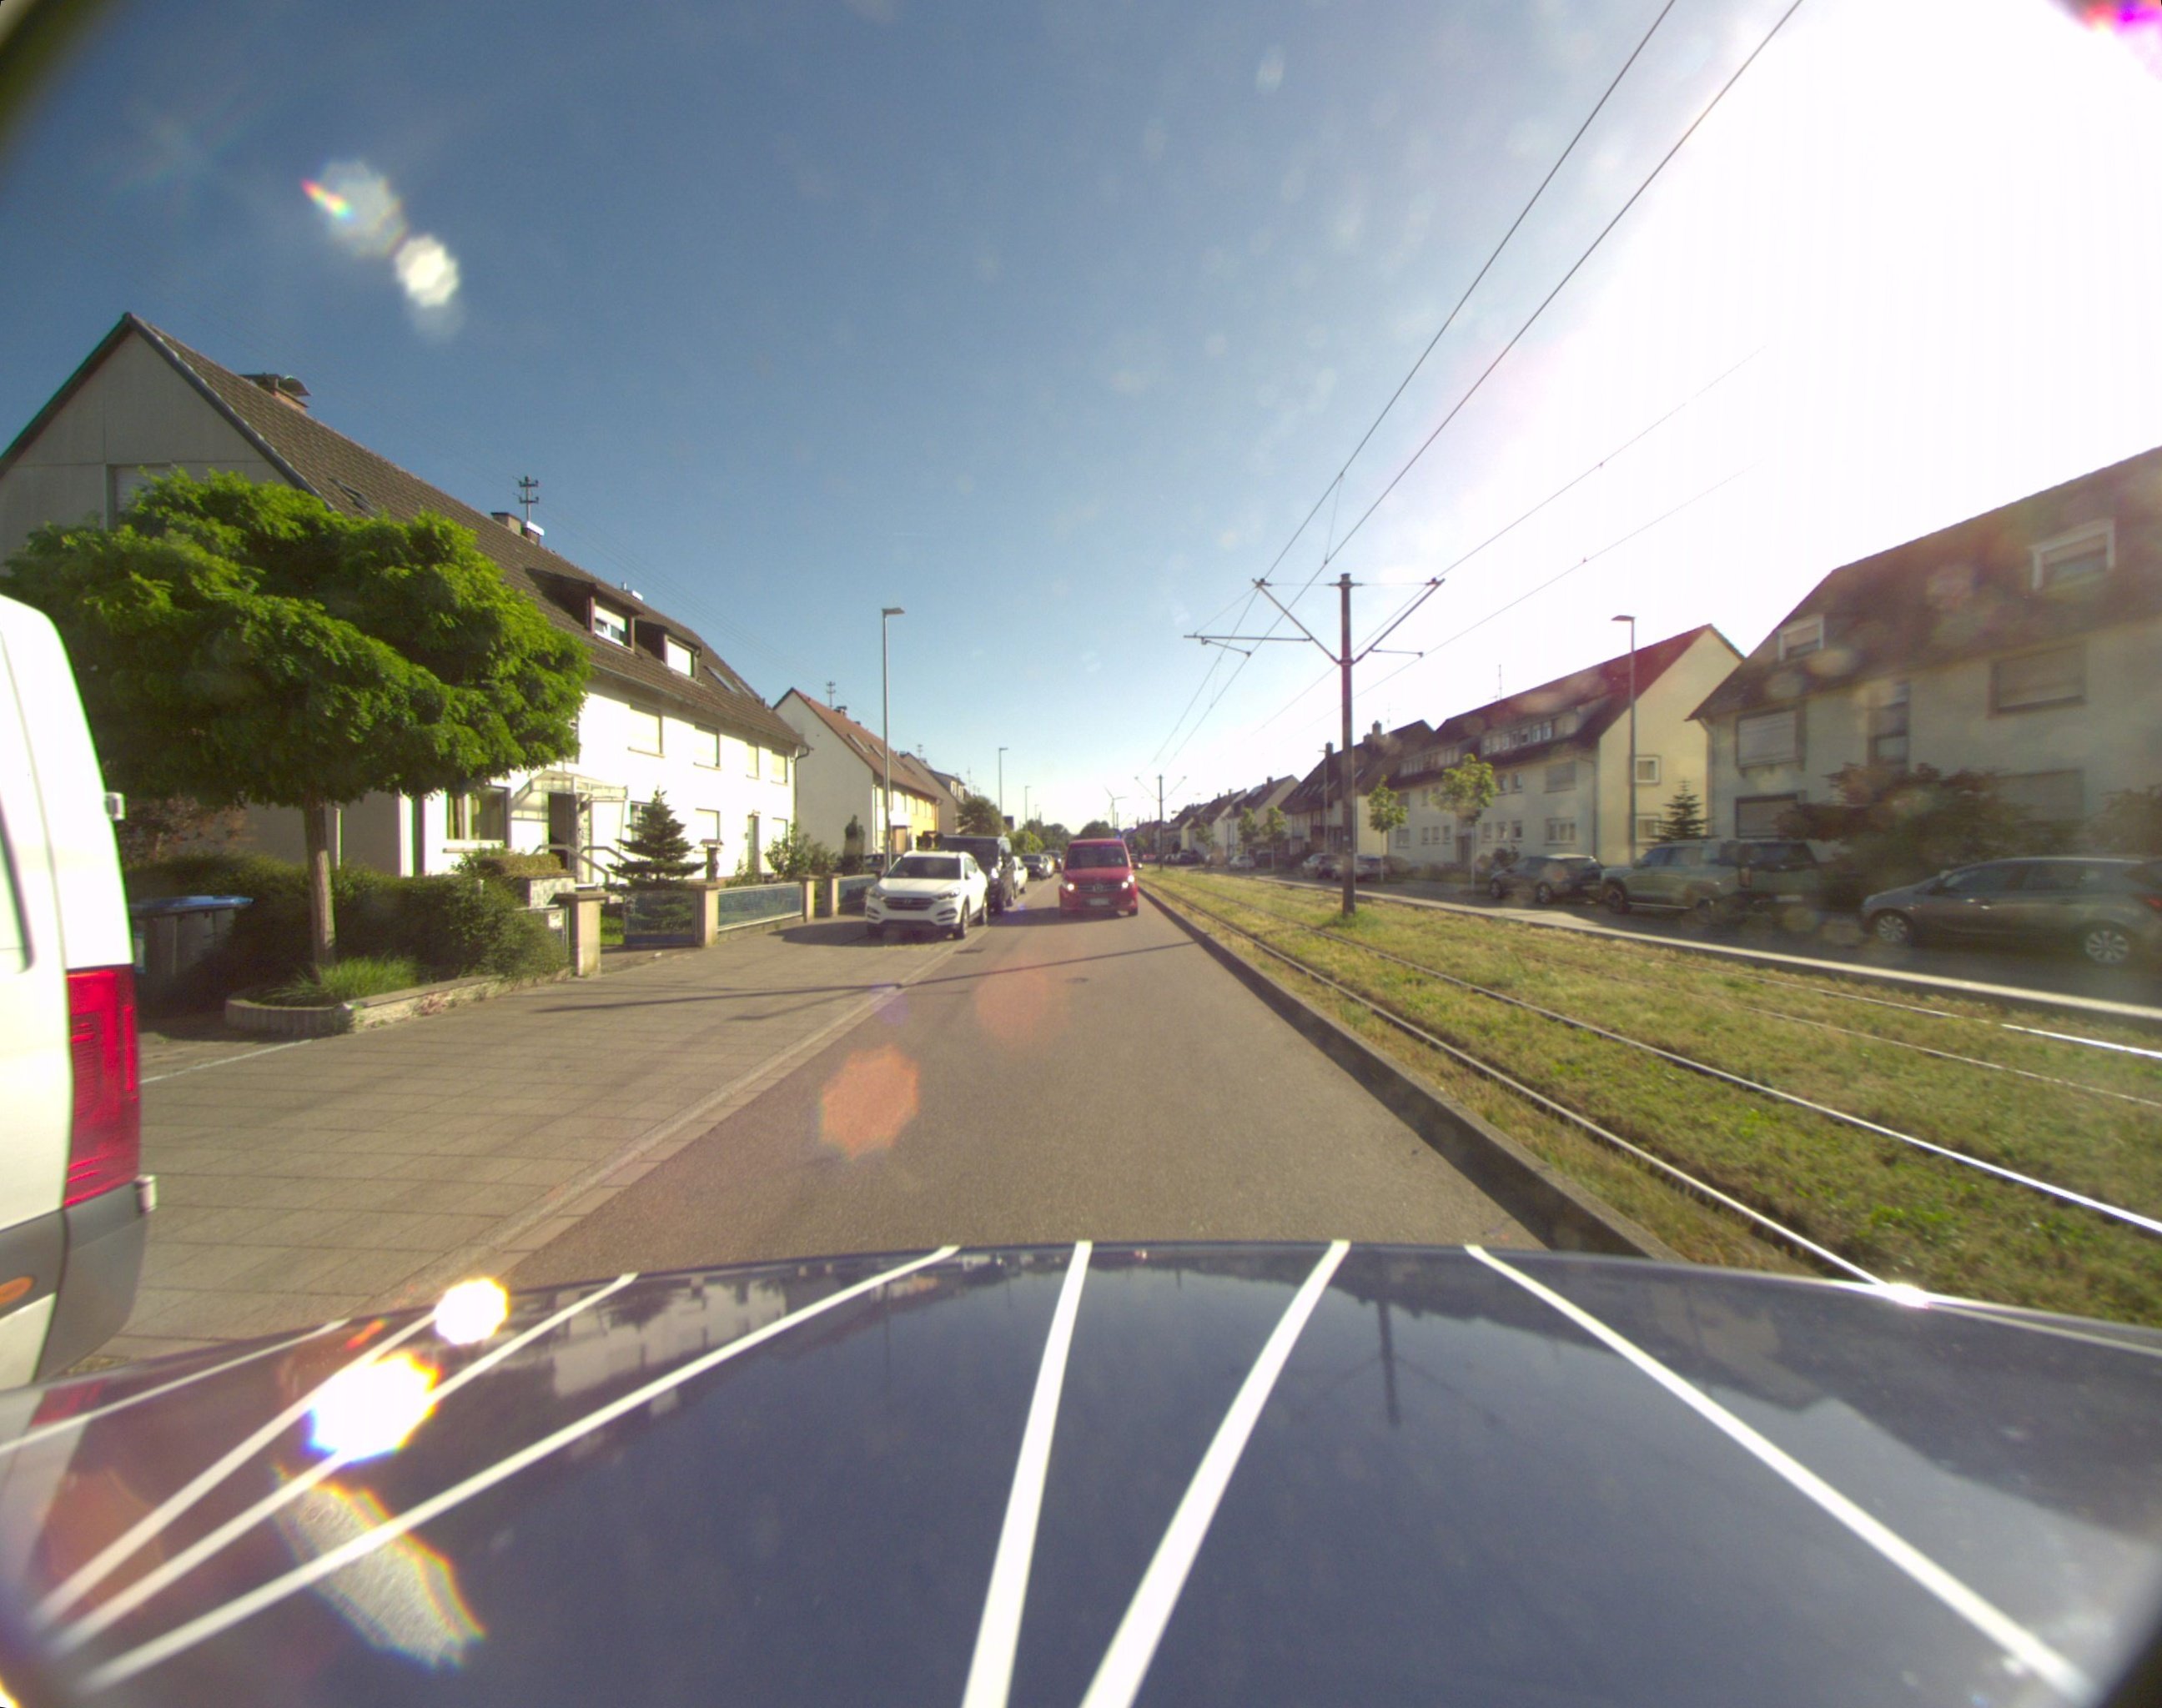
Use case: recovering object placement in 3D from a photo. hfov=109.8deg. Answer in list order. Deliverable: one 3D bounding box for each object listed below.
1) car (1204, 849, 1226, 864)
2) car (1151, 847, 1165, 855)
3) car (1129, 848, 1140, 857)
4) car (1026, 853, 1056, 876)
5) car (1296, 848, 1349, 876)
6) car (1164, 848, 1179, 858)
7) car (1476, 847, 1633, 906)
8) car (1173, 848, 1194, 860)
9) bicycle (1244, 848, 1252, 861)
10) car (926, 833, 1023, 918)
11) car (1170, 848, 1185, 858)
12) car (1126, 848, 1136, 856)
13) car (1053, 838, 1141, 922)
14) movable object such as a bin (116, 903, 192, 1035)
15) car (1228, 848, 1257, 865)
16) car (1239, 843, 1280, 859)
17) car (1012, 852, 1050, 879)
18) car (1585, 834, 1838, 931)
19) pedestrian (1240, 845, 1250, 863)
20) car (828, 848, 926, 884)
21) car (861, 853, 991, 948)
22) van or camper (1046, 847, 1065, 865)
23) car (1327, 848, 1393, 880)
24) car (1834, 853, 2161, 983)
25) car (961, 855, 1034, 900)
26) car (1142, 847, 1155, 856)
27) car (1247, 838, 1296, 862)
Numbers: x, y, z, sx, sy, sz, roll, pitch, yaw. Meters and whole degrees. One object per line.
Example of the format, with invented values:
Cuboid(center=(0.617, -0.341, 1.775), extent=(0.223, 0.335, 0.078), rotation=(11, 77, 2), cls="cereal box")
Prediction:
Cuboid(center=(14.360, 0.283, 81.644), extent=(1.623, 1.503, 4.084), rotation=(-2, 0, 1), cls="car")
Cuboid(center=(12.970, -0.525, 128.284), extent=(1.704, 1.389, 4.091), rotation=(-2, 1, -1), cls="car")
Cuboid(center=(9.454, -0.311, 134.759), extent=(1.693, 1.467, 3.678), rotation=(-2, 1, -1), cls="car")
Cuboid(center=(-2.605, 0.699, 50.604), extent=(1.752, 1.438, 4.698), rotation=(0, 0, 0), cls="car")
Cuboid(center=(14.432, 0.440, 45.652), extent=(1.693, 1.464, 4.313), rotation=(-2, 1, -1), cls="car")
Cuboid(center=(13.445, -0.145, 113.241), extent=(1.658, 1.447, 4.399), rotation=(-2, 1, -1), cls="car")
Cuboid(center=(14.245, 0.605, 23.215), extent=(1.965, 1.531, 4.556), rotation=(-2, 1, 1), cls="car")
Cuboid(center=(13.874, -0.007, 102.997), extent=(1.926, 1.551, 4.857), rotation=(-2, 1, -1), cls="car")
Cuboid(center=(16.551, 0.040, 75.364), extent=(0.478, 1.156, 1.872), rotation=(-2, 1, 6), cls="bicycle")
Cuboid(center=(-2.902, 0.508, 21.852), extent=(1.964, 2.132, 5.335), rotation=(0, 1, 1), cls="car")
Cuboid(center=(13.756, -0.107, 108.178), extent=(1.469, 1.459, 3.998), rotation=(0, 0, -2), cls="car")
Cuboid(center=(9.743, -0.433, 148.710), extent=(1.693, 1.467, 4.082), rotation=(-2, 1, -1), cls="car")
Cuboid(center=(0.328, 0.561, 20.355), extent=(1.999, 1.889, 5.389), rotation=(-2, 1, -1), cls="car")
Cuboid(center=(-8.144, 0.996, 6.682), extent=(0.280, 1.089, 0.329), rotation=(-2, 2, -28), cls="movable object such as a bin")
Cuboid(center=(14.585, 0.227, 68.650), extent=(1.662, 1.428, 4.102), rotation=(-1, 1, -1), cls="car")
Cuboid(center=(21.026, -0.363, 89.661), extent=(4.403, 1.773, 1.970), rotation=(-1, 0, -1), cls="car")
Cuboid(center=(-2.900, 0.659, 44.998), extent=(1.782, 1.490, 4.728), rotation=(0, 0, 2), cls="car")
Cuboid(center=(13.946, 0.532, 17.285), extent=(1.749, 1.812, 4.841), rotation=(-3, 1, 1), cls="car")
Cuboid(center=(16.250, 0.017, 75.289), extent=(0.617, 1.805, 0.678), rotation=(-3, 1, -9), cls="pedestrian")
Cuboid(center=(-10.424, 0.586, 39.074), extent=(4.426, 1.645, 2.196), rotation=(-1, 1, -2), cls="car")
Cuboid(center=(-3.027, 0.825, 15.716), extent=(1.730, 1.636, 4.318), rotation=(1, 1, 1), cls="car")
Cuboid(center=(-2.622, 0.149, 79.995), extent=(1.954, 1.836, 5.581), rotation=(0, 1, -1), cls="van or camper")
Cuboid(center=(14.412, 0.479, 39.478), extent=(1.693, 1.467, 4.441), rotation=(-2, 1, -1), cls="car")
Cuboid(center=(13.955, 0.781, 11.172), extent=(1.680, 1.482, 4.049), rotation=(-3, 1, -1), cls="car")
Cuboid(center=(-2.987, 0.804, 28.370), extent=(1.857, 1.435, 5.613), rotation=(1, 1, 2), cls="car")
Cuboid(center=(12.467, -0.431, 139.935), extent=(1.832, 1.522, 4.091), rotation=(-2, 1, -1), cls="car")
Cuboid(center=(19.362, -0.400, 77.242), extent=(4.472, 2.069, 1.787), rotation=(-4, 1, 1), cls="car")
